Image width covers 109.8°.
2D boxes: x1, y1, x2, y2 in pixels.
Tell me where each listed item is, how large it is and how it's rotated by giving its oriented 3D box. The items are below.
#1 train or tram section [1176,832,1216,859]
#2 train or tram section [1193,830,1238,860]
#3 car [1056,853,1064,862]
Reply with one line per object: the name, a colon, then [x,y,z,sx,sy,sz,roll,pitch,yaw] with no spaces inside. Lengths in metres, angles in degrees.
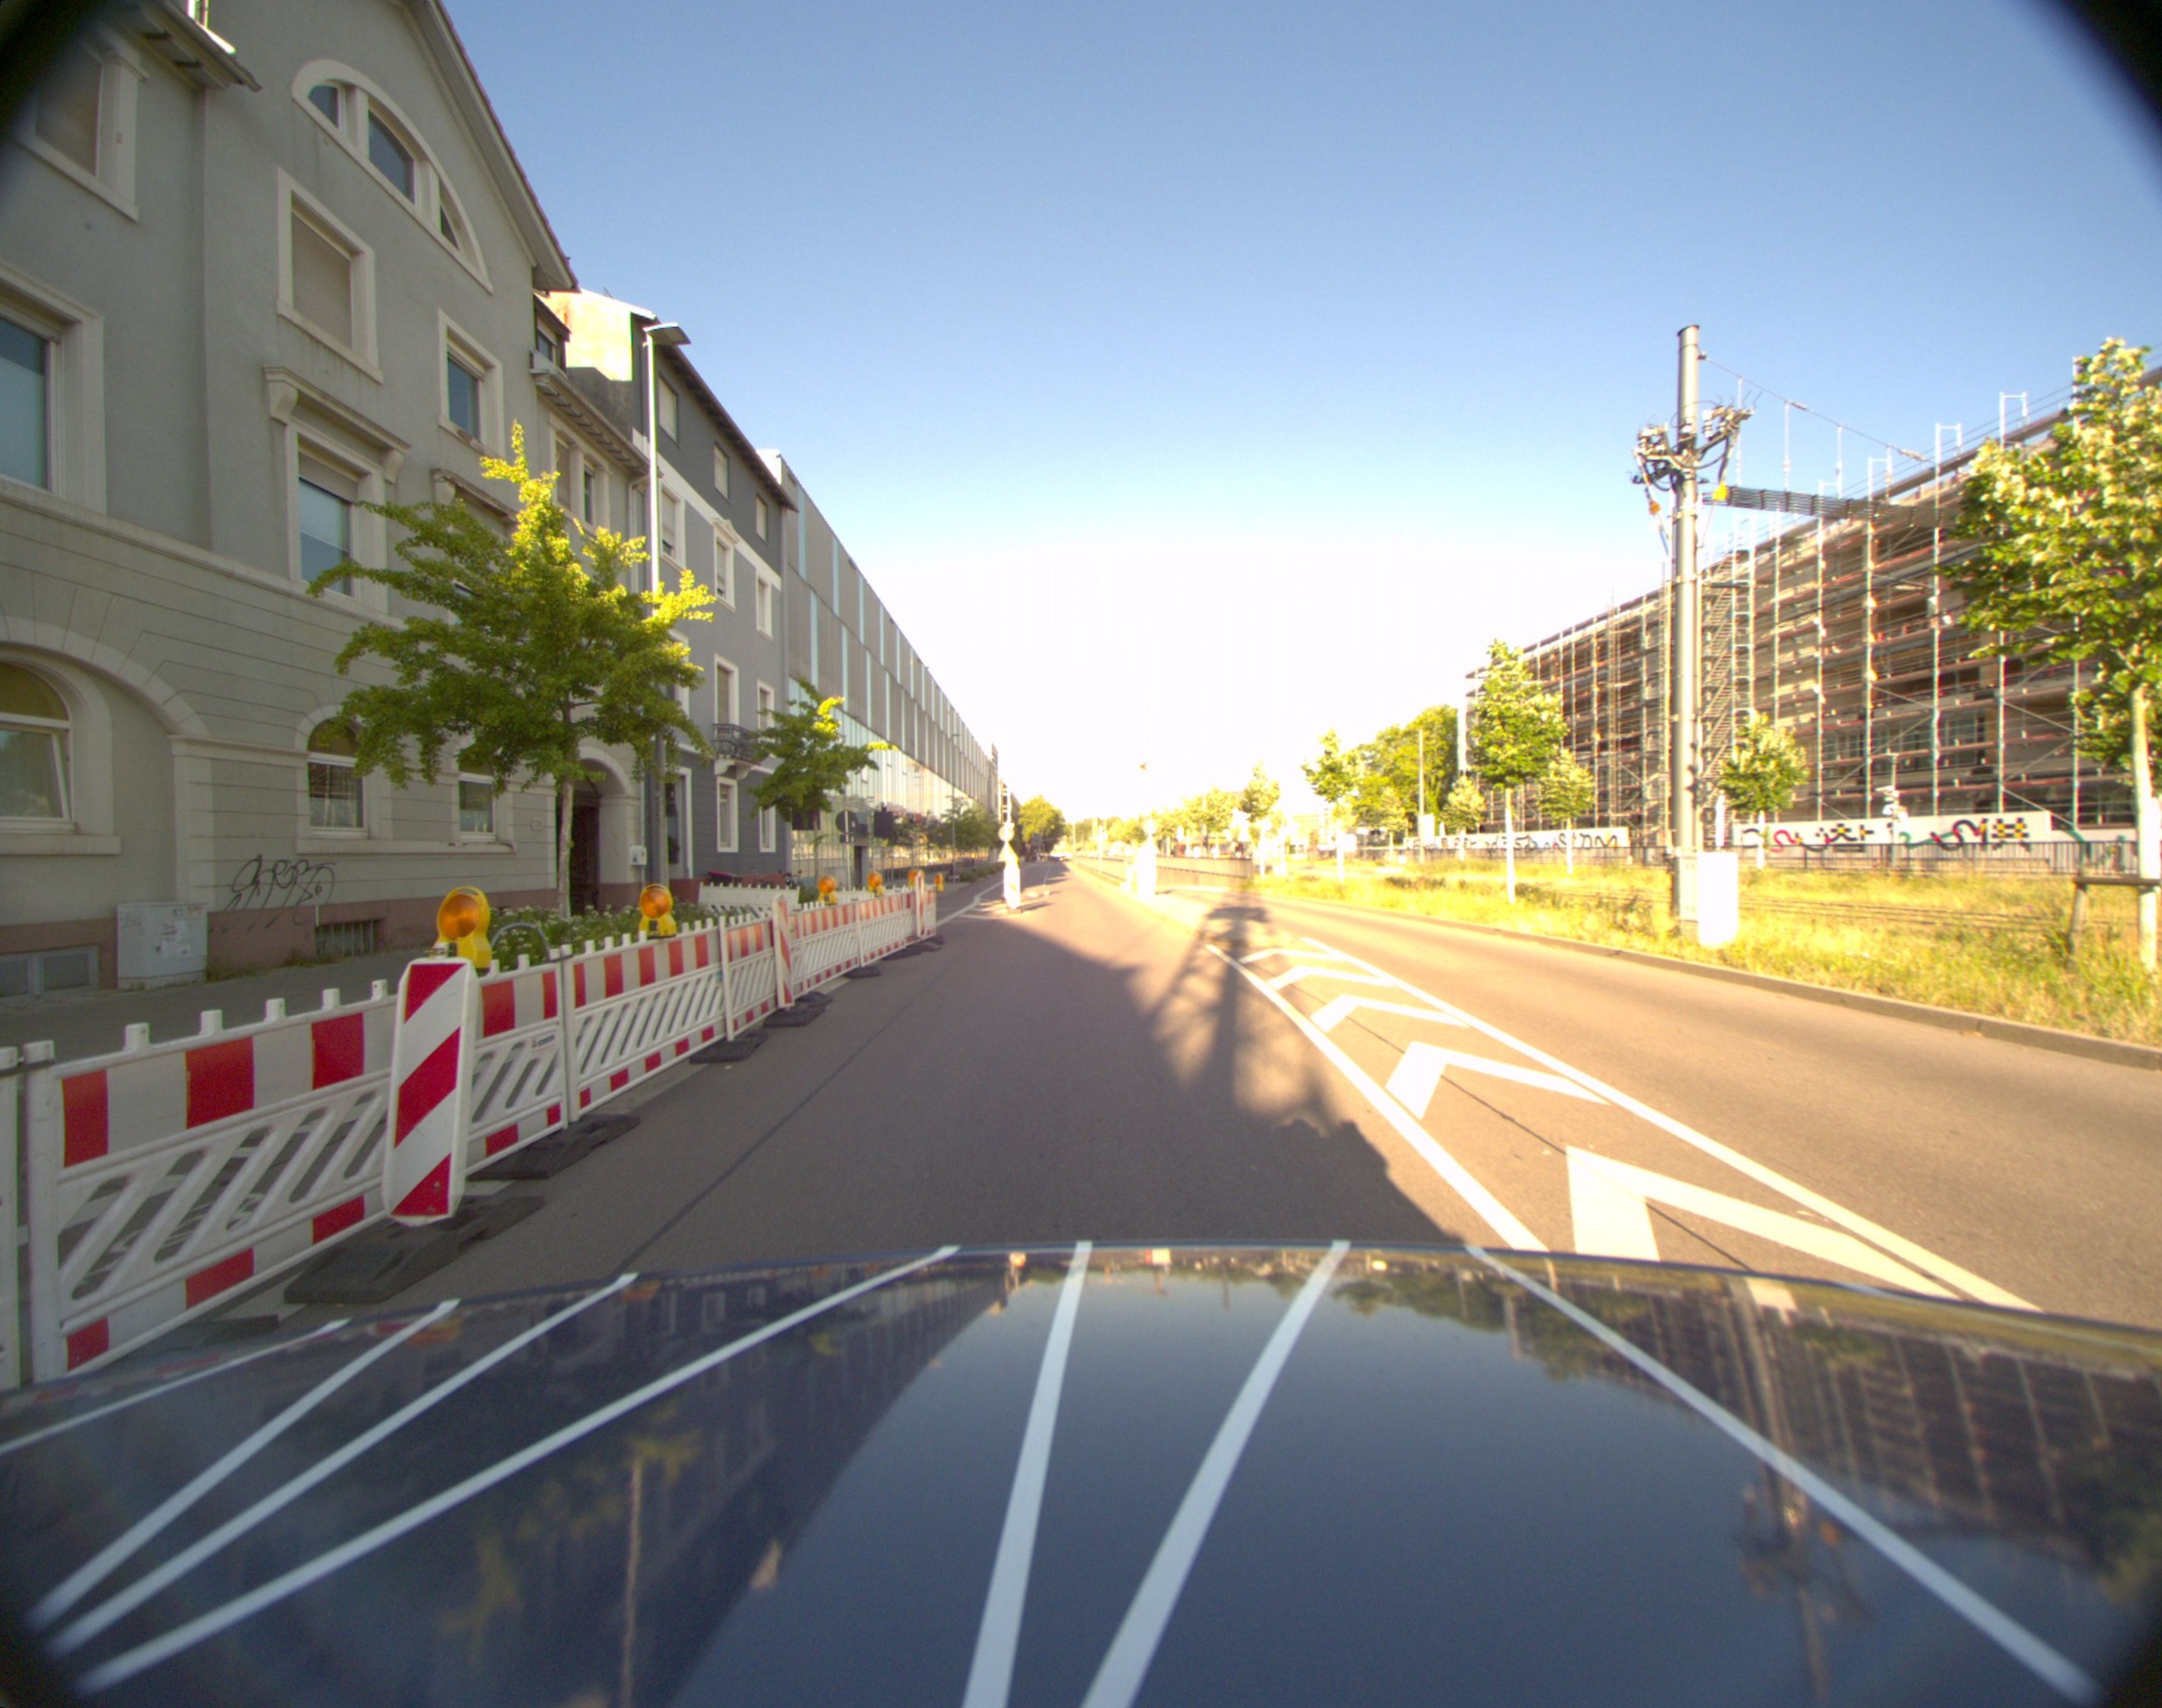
train or tram section: [16.115,-1.218,107.922,2.954,3.378,14.761,-2,1,-2]
train or tram section: [16.491,-1.092,94.239,2.954,3.378,12.630,-2,1,-2]
car: [-5.174,0.809,187.205,1.941,2.002,3.825,-1,0,-3]
